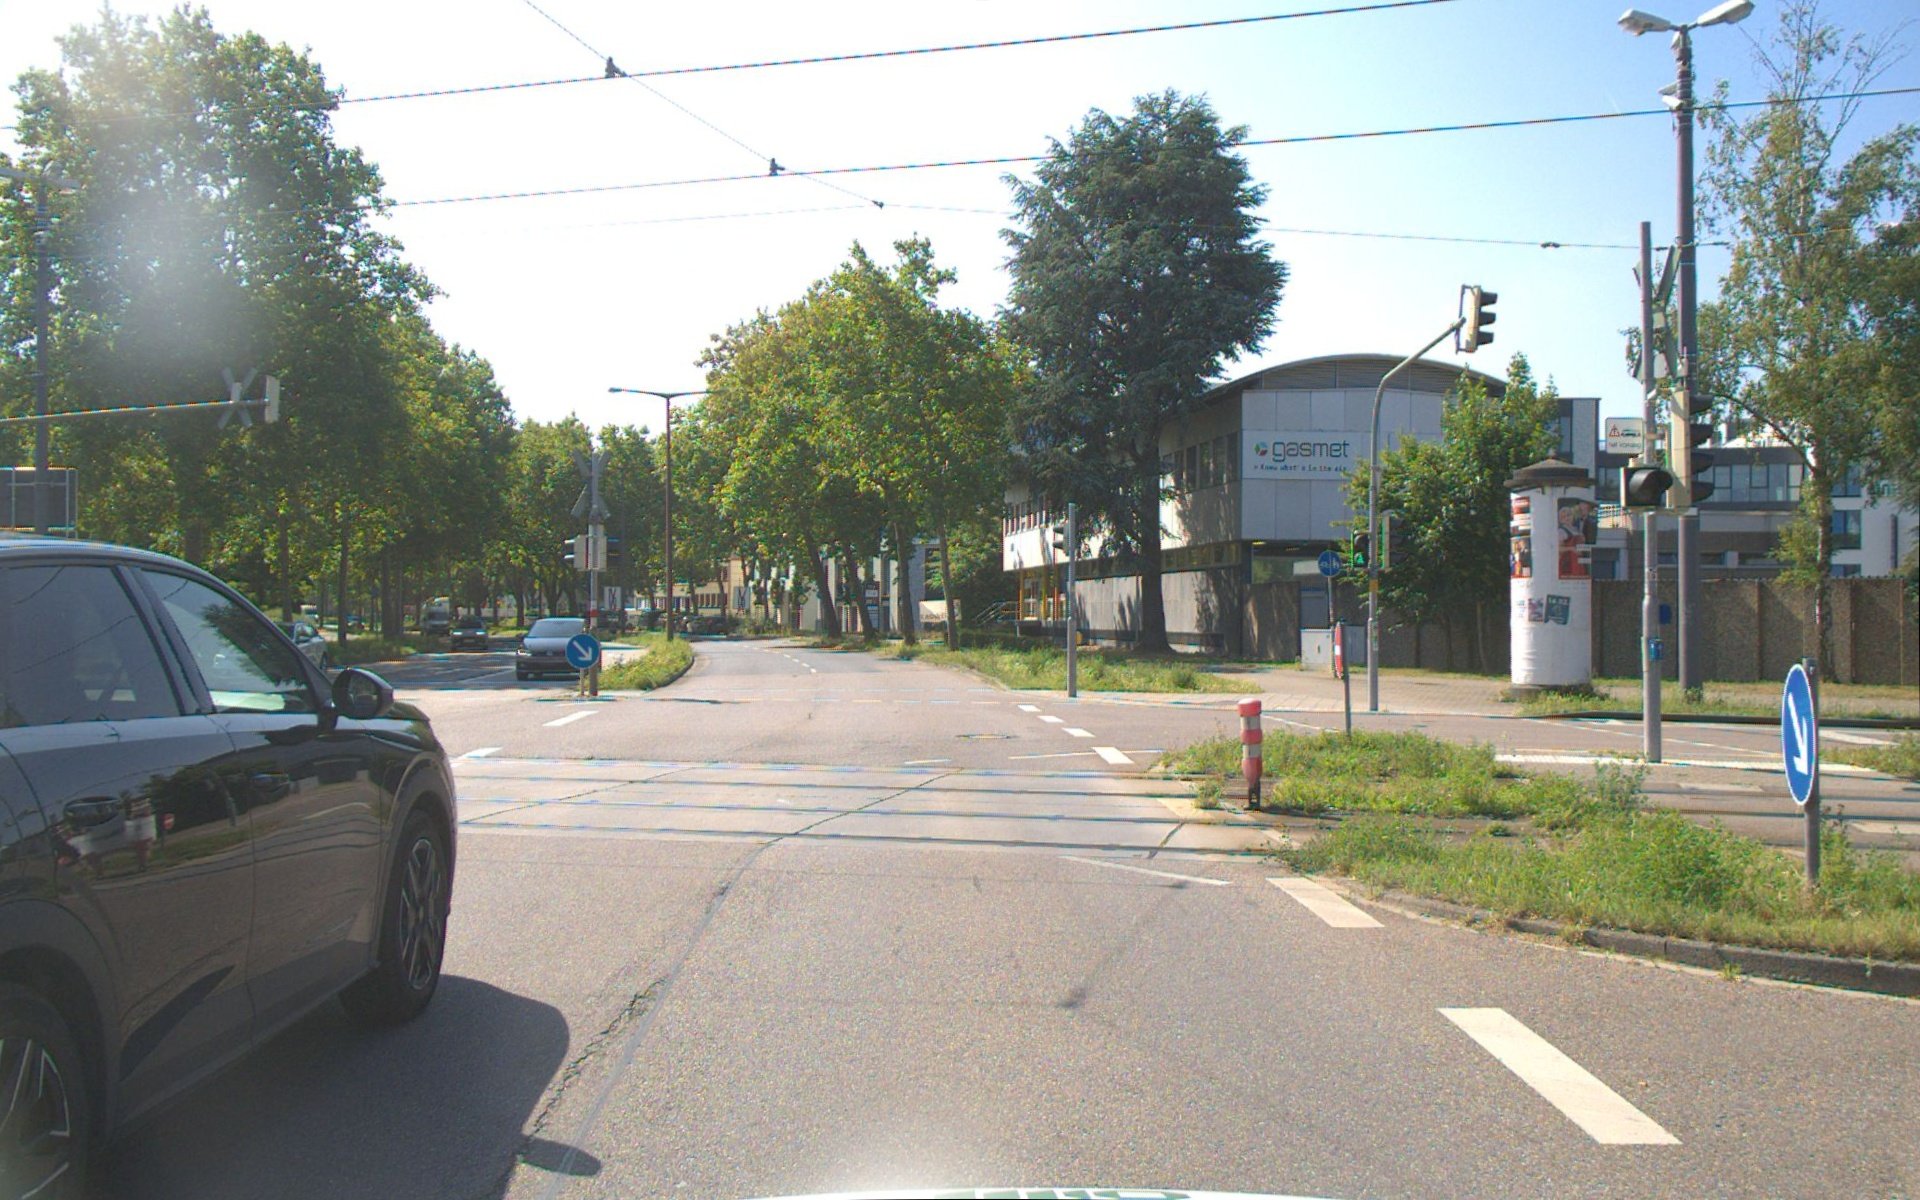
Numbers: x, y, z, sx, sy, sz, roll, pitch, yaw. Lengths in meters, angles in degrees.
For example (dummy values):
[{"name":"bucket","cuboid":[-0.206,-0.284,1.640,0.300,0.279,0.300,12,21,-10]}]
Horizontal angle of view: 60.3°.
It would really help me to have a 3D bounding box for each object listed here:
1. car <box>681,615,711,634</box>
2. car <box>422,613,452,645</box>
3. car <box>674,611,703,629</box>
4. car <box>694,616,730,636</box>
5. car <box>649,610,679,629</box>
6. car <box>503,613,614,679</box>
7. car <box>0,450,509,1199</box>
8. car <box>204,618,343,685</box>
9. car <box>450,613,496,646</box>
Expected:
[{"name":"car","cuboid":[-21.680,1.984,135.725,1.681,1.514,4.078,0,0,-19]},{"name":"car","cuboid":[-45.601,2.547,144.188,2.031,2.659,7.171,-1,-1,-21]},{"name":"car","cuboid":[-23.053,1.653,140.557,1.681,1.480,4.629,0,0,-19]},{"name":"car","cuboid":[-19.589,2.048,130.602,1.684,1.513,4.685,-1,0,-23]},{"name":"car","cuboid":[-27.183,1.792,151.957,1.684,1.699,4.499,0,0,-24]},{"name":"car","cuboid":[-9.790,1.078,40.573,1.659,1.534,4.129,0,0,1]},{"name":"car","cuboid":[-2.667,0.604,4.371,1.834,1.726,4.434,0,0,-2]},{"name":"car","cuboid":[-16.818,1.220,40.760,1.660,1.534,4.659,0,0,-2]},{"name":"car","cuboid":[-25.280,1.526,85.974,1.677,1.617,4.424,-1,0,-9]}]
